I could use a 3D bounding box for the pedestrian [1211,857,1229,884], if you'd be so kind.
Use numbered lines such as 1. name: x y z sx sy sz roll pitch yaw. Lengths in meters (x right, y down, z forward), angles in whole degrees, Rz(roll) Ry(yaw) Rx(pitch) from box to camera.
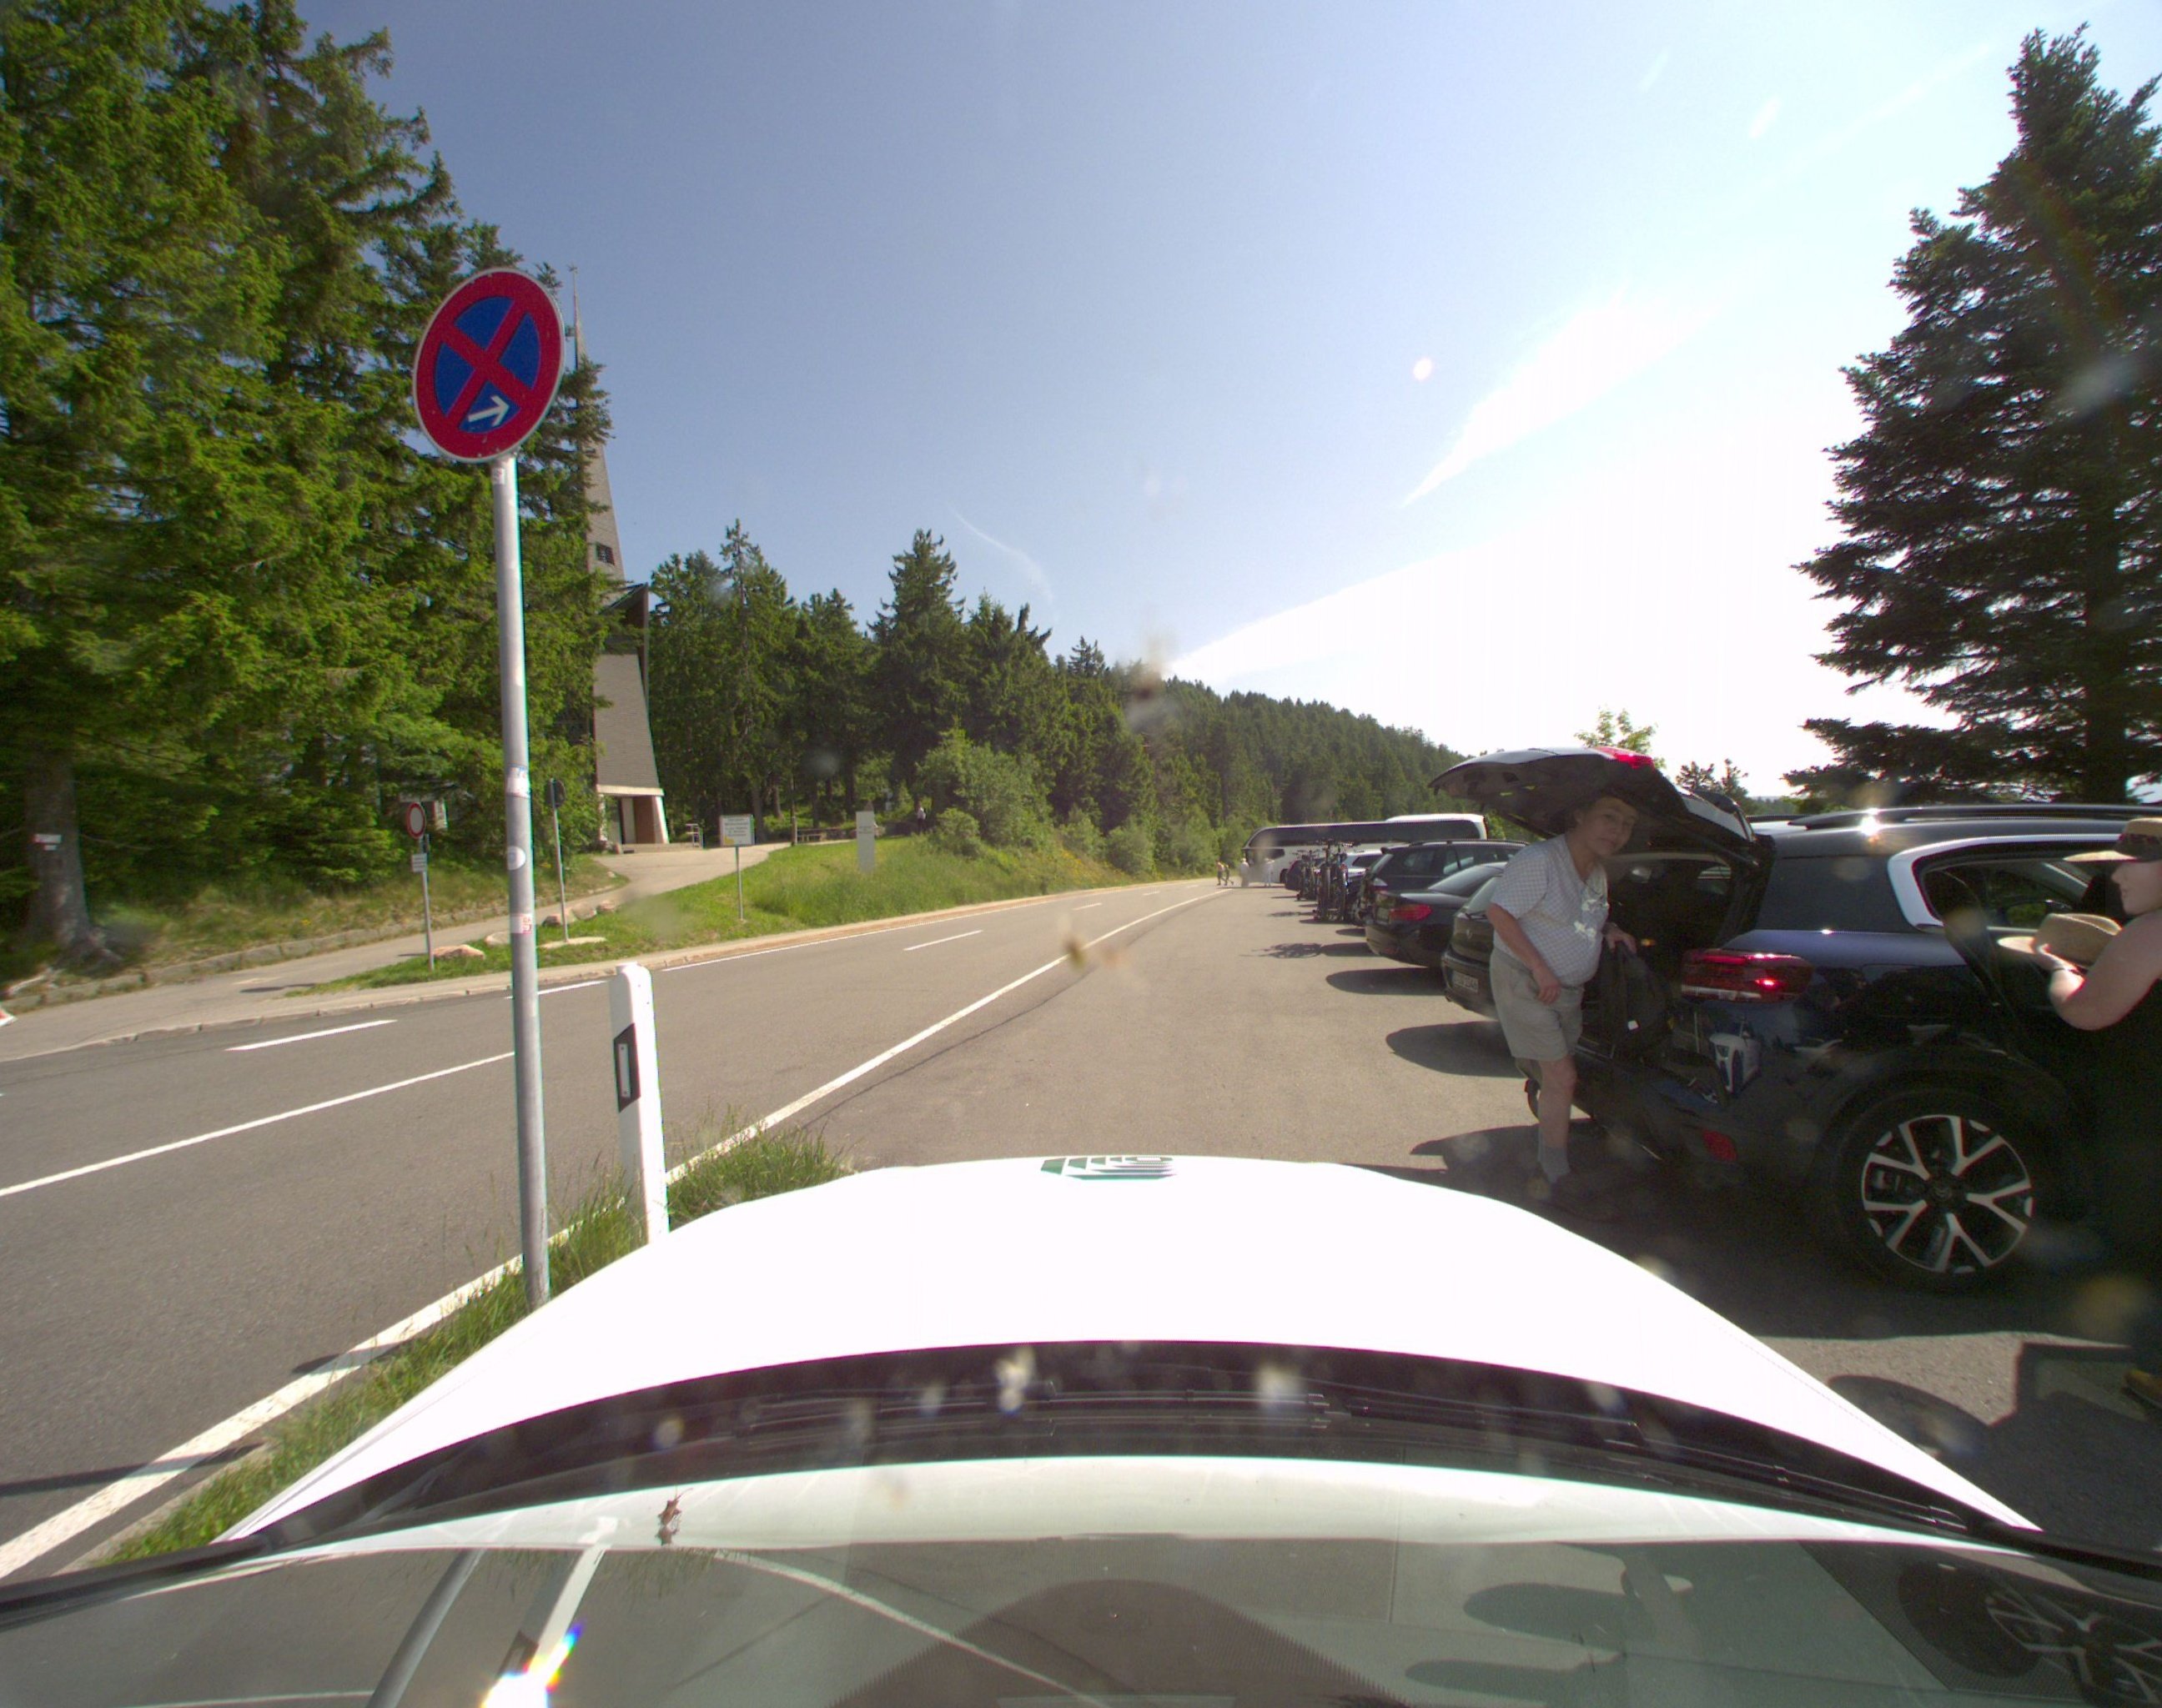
1. pedestrian: 8.997 1.075 52.734 0.851 1.683 0.869 -3 -1 -2

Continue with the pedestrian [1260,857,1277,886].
1. pedestrian: 10.326 0.958 44.758 0.764 1.585 0.776 -3 -1 19

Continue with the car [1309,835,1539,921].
1. car: 7.187 0.519 17.512 4.215 1.554 1.844 -3 -1 12

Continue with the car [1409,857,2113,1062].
1. car: 4.951 0.727 6.421 4.064 1.376 1.704 0 -1 3

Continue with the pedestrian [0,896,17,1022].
1. pedestrian: -14.895 1.435 10.777 0.715 1.681 0.684 -3 -1 8

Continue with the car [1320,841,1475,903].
1. car: 9.157 0.526 23.857 3.960 1.554 1.665 -3 -1 12

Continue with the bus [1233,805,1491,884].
1. bus: 15.310 -0.395 45.195 12.978 3.533 3.060 -3 -1 22

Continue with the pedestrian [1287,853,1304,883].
1. pedestrian: 11.747 0.744 44.655 0.763 1.585 0.777 -3 -1 20

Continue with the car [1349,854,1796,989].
1. car: 5.346 0.700 9.336 4.061 1.376 1.705 0 -1 6

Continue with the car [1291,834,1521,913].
1. car: 7.878 0.485 20.282 5.000 1.651 2.055 -3 -1 12

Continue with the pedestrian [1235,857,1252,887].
1. pedestrian: 9.018 0.989 45.266 0.764 1.585 0.776 -3 -1 19

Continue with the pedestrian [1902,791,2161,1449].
1. pedestrian: 2.909 0.652 2.235 0.709 1.613 0.538 -1 -1 11

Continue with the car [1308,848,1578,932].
1. car: 6.421 0.641 14.948 4.215 1.269 1.844 -3 -1 12

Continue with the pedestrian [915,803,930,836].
1. pedestrian: -9.479 -2.048 48.724 0.679 1.878 0.541 -3 -1 -3

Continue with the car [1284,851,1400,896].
1. car: 9.744 0.717 30.690 3.960 1.449 1.867 -3 -1 12

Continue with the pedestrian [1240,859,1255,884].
1. pedestrian: 10.610 1.108 51.951 0.848 1.585 0.821 -3 -1 11

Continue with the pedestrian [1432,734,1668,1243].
1. pedestrian: 2.027 0.481 3.504 0.728 1.870 0.763 0 2 42

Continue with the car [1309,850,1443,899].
1. car: 9.773 0.668 27.248 3.960 1.398 1.625 -3 -1 12

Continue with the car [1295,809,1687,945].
1. car: 5.794 0.366 12.253 4.913 1.695 1.952 -3 -1 14

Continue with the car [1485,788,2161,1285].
1. car: 4.371 0.626 3.539 4.321 1.626 1.873 1 -1 7

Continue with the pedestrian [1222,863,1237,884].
1. pedestrian: 9.456 1.247 51.910 0.733 1.279 0.782 -3 -1 -6
